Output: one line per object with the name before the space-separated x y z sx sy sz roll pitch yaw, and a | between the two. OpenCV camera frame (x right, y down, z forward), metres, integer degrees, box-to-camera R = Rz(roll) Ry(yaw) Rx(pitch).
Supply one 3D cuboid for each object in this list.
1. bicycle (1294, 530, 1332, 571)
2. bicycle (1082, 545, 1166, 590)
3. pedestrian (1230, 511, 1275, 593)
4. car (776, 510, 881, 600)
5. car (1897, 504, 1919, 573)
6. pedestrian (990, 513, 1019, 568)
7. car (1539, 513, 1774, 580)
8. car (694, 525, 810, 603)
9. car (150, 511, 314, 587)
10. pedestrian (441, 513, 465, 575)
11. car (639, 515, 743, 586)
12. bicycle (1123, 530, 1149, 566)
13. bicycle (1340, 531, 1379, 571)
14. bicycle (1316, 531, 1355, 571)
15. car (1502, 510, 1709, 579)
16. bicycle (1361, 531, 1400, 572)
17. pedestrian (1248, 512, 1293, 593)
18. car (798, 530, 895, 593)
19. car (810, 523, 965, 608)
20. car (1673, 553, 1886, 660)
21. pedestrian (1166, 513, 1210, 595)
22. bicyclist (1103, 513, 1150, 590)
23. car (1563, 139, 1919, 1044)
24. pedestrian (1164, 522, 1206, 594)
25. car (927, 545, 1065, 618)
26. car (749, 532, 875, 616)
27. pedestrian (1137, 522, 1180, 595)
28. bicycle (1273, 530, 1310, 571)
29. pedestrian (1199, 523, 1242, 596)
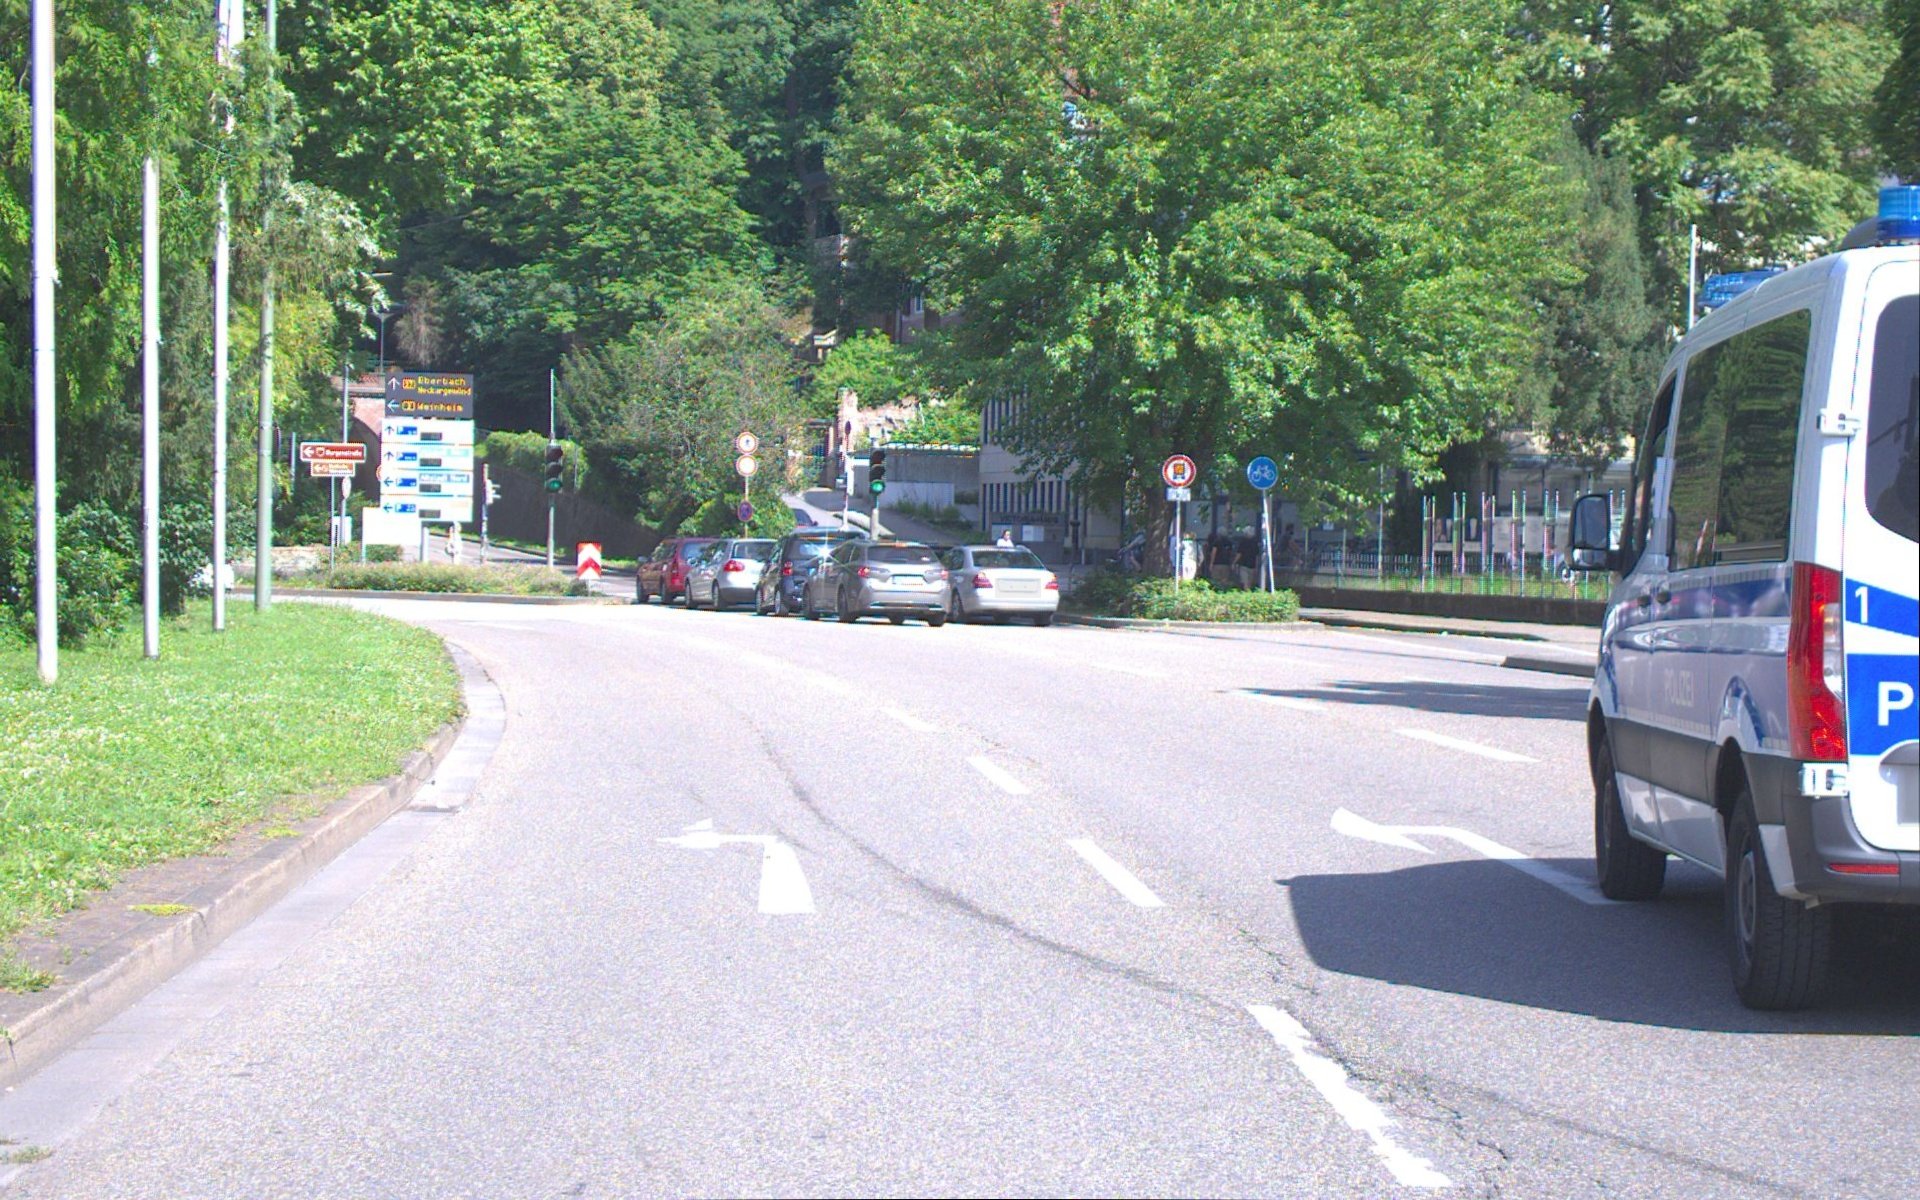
bicycle | 9.648 -1.353 94.097 0.537 1.081 1.835 0 2 -10
bicycle | 4.178 -0.825 87.457 2.076 1.109 0.757 1 1 0
pedestrian | 6.696 -1.104 78.760 0.771 1.848 0.830 1 1 -13
car | -3.004 -1.037 77.937 1.755 1.931 3.495 1 1 -12
car | 24.193 -1.404 79.919 4.306 1.598 1.822 0 1 -14
pedestrian | 1.174 -1.574 91.053 0.489 1.453 0.734 0 1 -23
car | 14.627 -1.129 72.285 4.465 1.331 1.822 0 1 -14
car | -4.199 -0.740 69.014 1.755 1.456 3.647 1 1 -12
car | -15.023 -1.061 70.873 1.843 1.455 3.493 0 2 -40
pedestrian | -13.406 -1.483 90.864 0.547 1.615 0.634 1 2 -3
car | -5.842 -1.090 74.445 1.755 1.456 3.495 1 1 -12
bicycle | 5.046 -1.507 98.587 0.405 1.009 1.342 0 2 -12
bicycle | 10.944 -1.345 94.227 0.537 1.081 1.835 0 2 -10
bicycle | 10.278 -1.348 94.097 0.537 1.081 1.835 0 2 -10
car | 14.471 -1.250 77.142 4.141 1.470 1.878 0 1 -17
bicycle | 11.529 -1.342 94.352 0.537 1.081 1.835 0 2 -10
pedestrian | 7.250 -1.113 80.387 0.771 1.848 0.830 1 1 -13
car | -2.808 -0.957 84.655 1.755 1.456 3.495 1 1 -12
car | -1.267 -0.608 58.283 1.755 1.329 3.803 1 1 -15
car | 12.187 0.078 50.936 1.825 1.456 4.100 2 1 32
pedestrian | 5.200 -1.056 78.424 0.771 1.848 0.830 1 1 -11
bicyclist | 4.231 -1.233 87.457 1.126 1.926 0.748 1 1 1
car | 3.459 -0.035 11.942 2.073 2.500 4.929 2 1 3
pedestrian | 5.247 -0.977 80.212 0.771 1.657 0.830 1 1 -10
car | 0.631 -0.351 62.903 1.755 1.209 3.495 1 1 -12
car | -2.790 -0.501 64.207 1.755 1.456 3.495 1 1 -12
pedestrian | 4.593 -0.964 79.550 0.771 1.657 0.830 1 1 -11
bicycle | 9.062 -1.356 93.987 0.537 1.081 1.835 0 2 -10
pedestrian | 5.966 -0.931 78.727 0.771 1.657 0.830 1 1 -10
